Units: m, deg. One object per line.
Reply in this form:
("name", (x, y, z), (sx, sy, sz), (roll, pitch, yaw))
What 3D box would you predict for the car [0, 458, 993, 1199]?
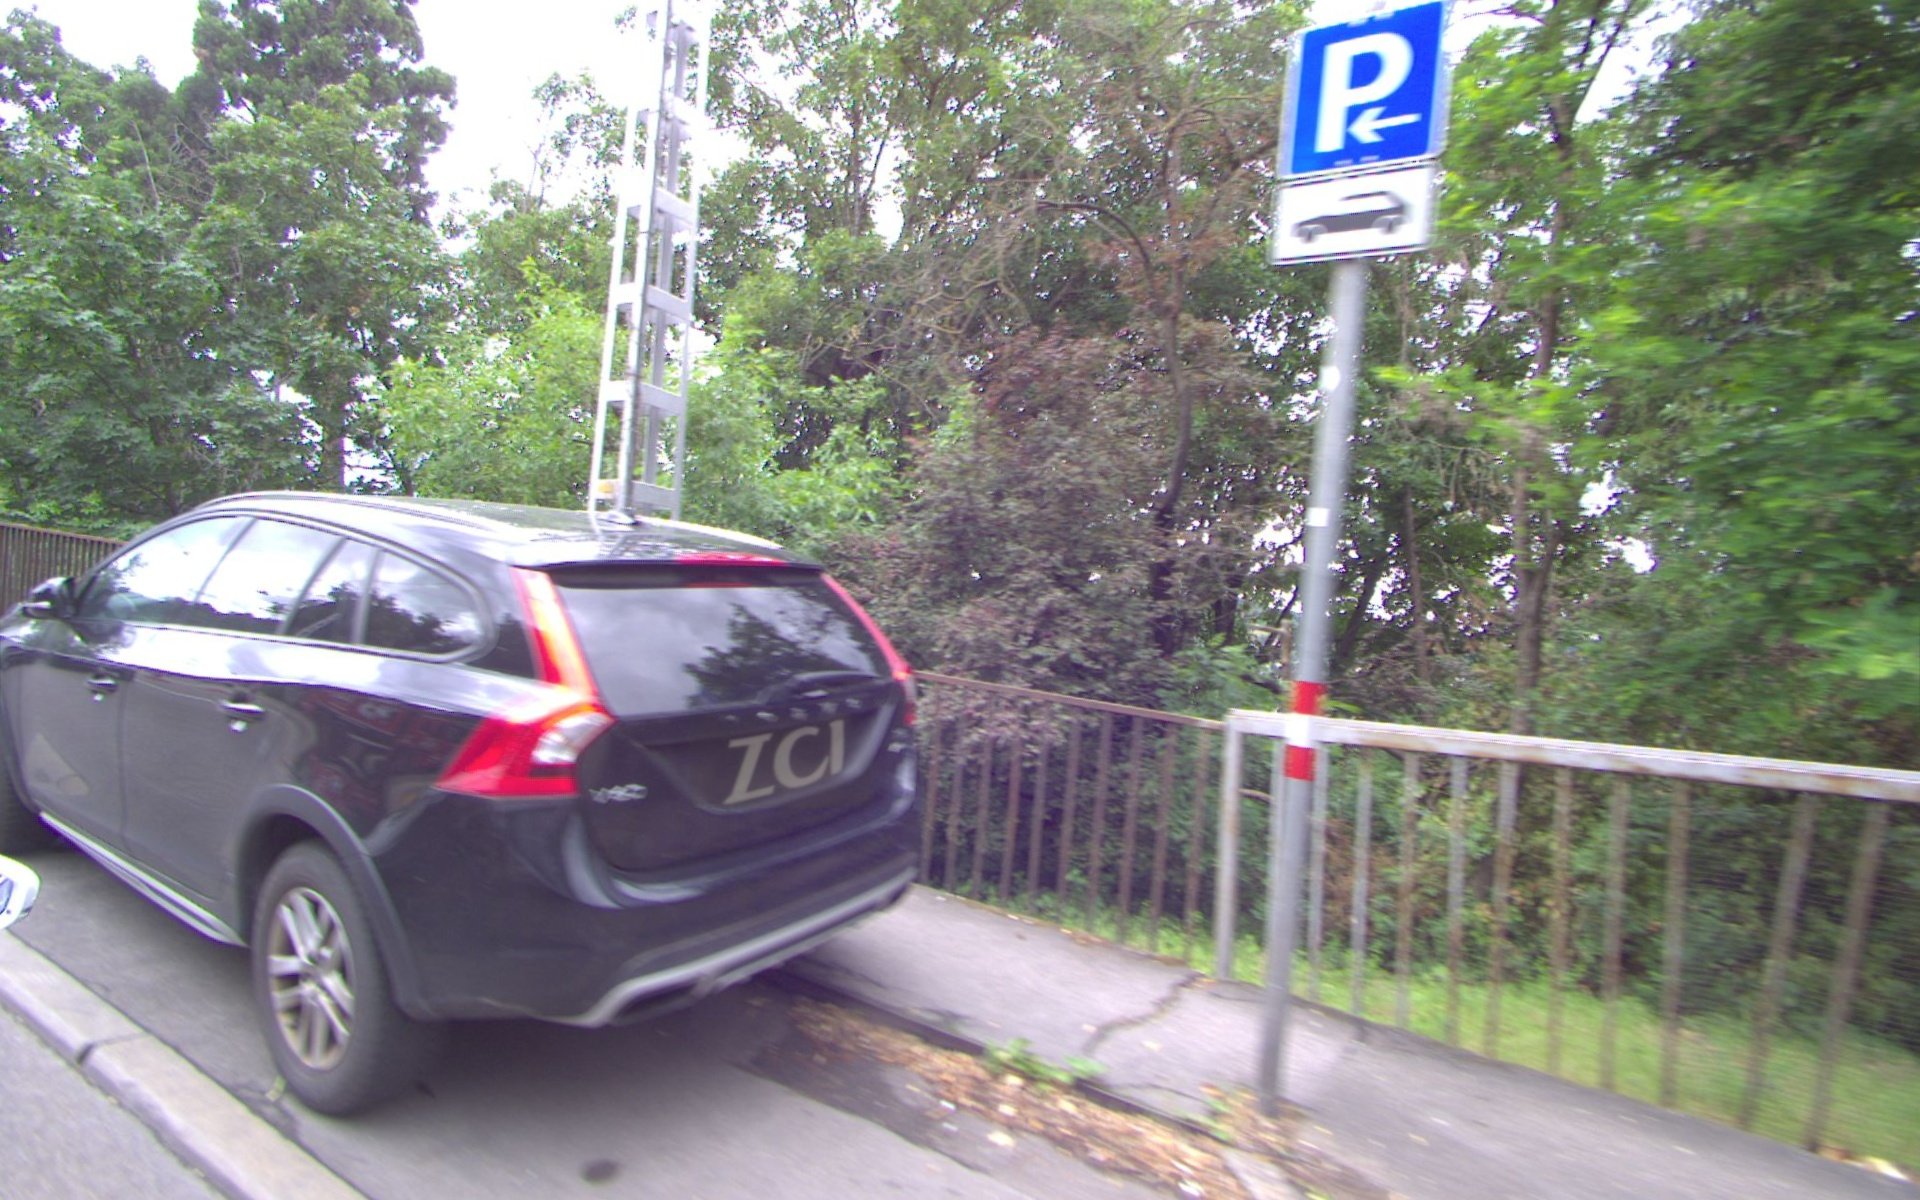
("car", (-2.217, 0.349, 3.848), (4.322, 1.544, 1.763), (7, 5, 33))
